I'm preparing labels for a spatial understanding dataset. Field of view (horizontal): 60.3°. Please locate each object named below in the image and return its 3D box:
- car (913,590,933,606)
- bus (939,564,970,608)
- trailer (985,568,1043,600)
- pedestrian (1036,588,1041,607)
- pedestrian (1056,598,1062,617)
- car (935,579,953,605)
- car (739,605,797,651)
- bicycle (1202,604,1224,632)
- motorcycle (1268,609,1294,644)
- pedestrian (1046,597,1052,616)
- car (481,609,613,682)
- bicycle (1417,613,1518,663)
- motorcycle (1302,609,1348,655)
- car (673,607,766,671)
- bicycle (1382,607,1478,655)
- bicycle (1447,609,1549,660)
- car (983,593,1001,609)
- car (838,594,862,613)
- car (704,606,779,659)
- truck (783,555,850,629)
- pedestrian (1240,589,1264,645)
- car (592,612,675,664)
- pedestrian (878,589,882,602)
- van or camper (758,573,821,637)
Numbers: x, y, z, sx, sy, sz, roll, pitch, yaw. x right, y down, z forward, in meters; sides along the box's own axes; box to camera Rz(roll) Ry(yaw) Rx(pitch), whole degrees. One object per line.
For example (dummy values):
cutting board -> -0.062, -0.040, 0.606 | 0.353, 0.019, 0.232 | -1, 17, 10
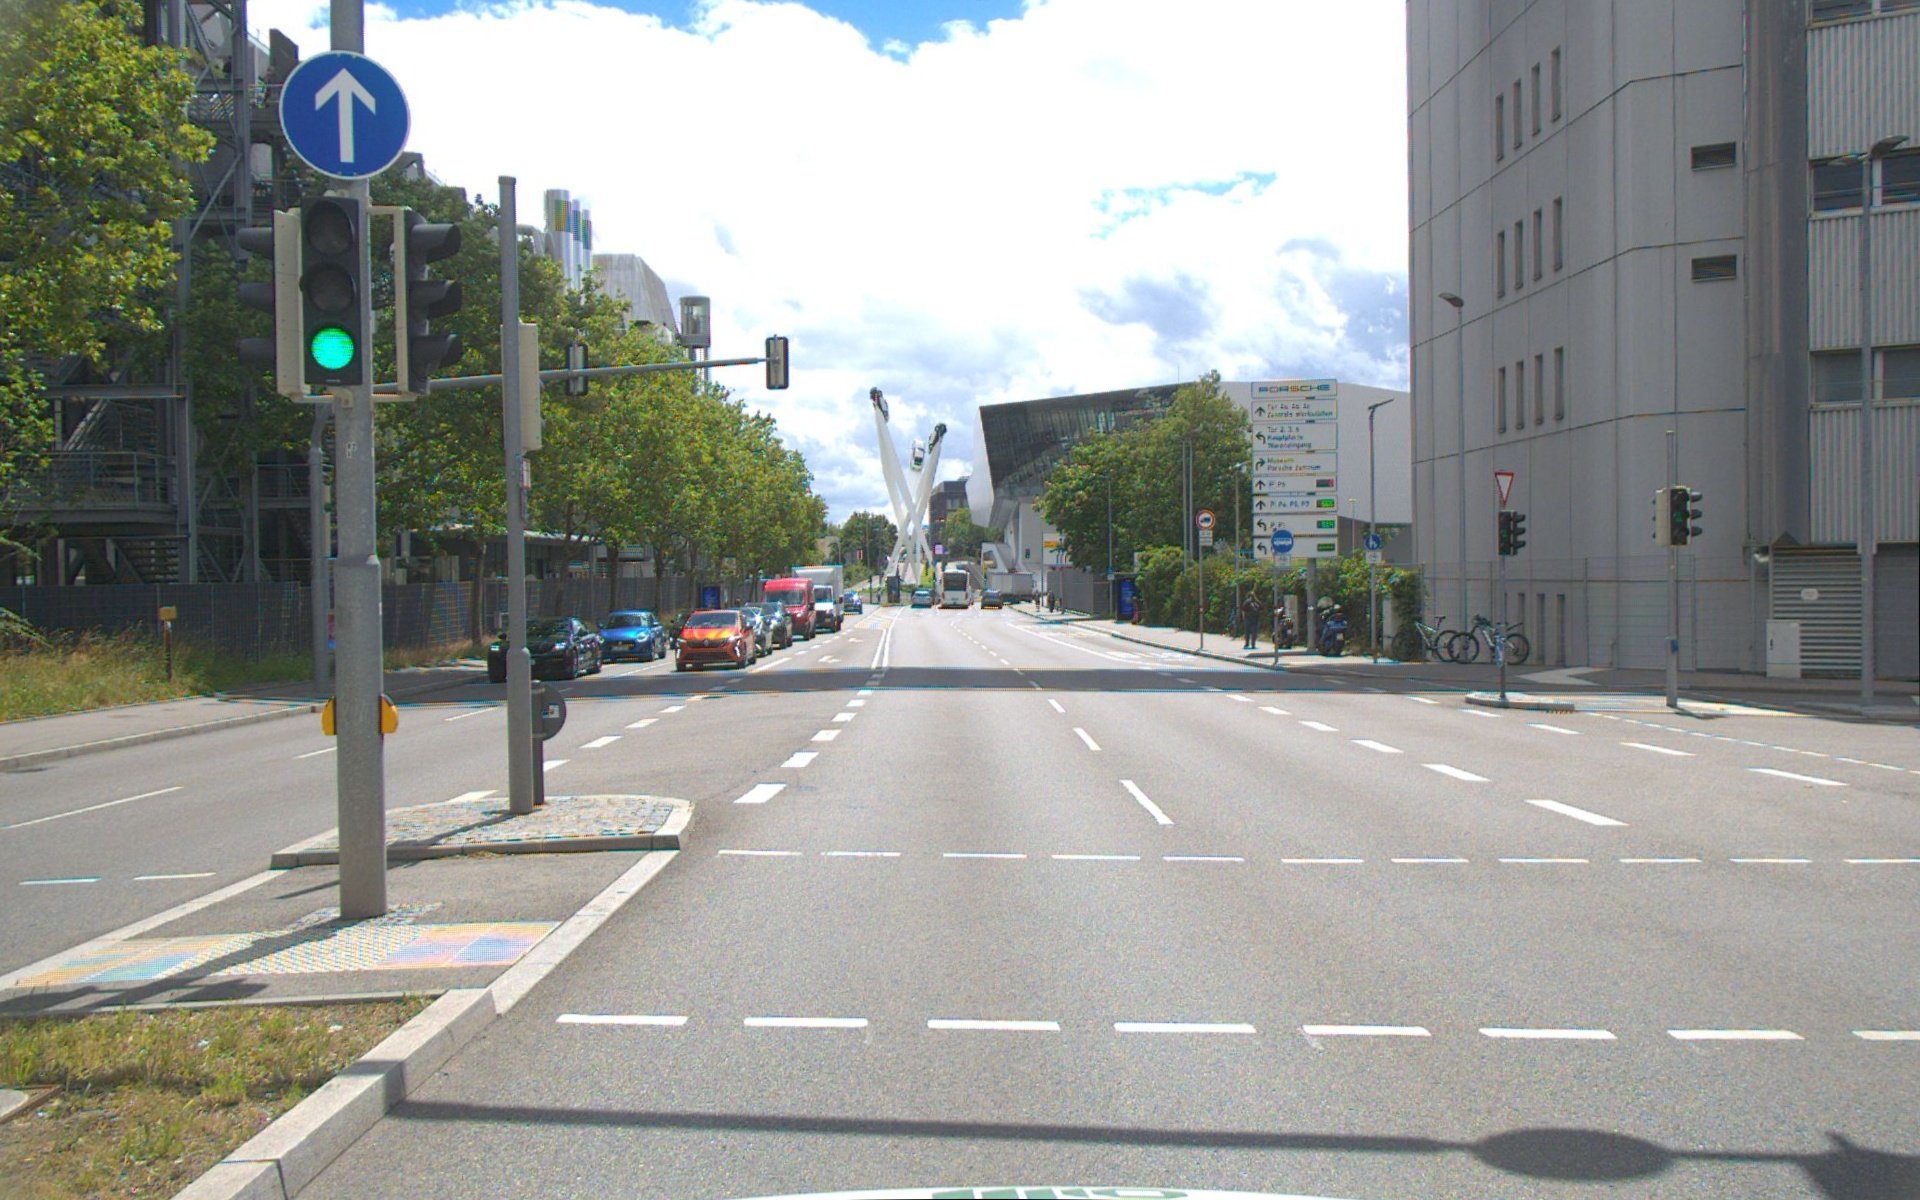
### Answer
car -> -3.289, -0.178, 147.066 | 1.525, 1.295, 3.701 | -2, 0, 1
bus -> -0.486, -1.201, 148.711 | 2.730, 3.750, 6.942 | 1, -1, 0
trailer -> 5.692, -1.580, 172.119 | 3.250, 3.047, 10.380 | 1, -1, 18
pedestrian -> 6.142, -0.198, 129.107 | 0.378, 1.446, 0.423 | 1, -1, 0
pedestrian -> 7.471, 0.566, 125.119 | 0.378, 1.446, 0.423 | 1, -1, 0
car -> -1.666, -0.847, 174.731 | 1.806, 2.669, 4.000 | 1, -1, 1
car -> -6.653, 0.960, 57.679 | 1.525, 1.473, 3.772 | -2, 0, 0
bicycle -> 9.770, 0.703, 63.905 | 0.410, 1.040, 1.910 | 1, -1, -5
motorcycle -> 9.823, 0.814, 50.644 | 0.448, 1.040, 1.913 | 1, -1, 1
pedestrian -> 6.706, 0.493, 124.823 | 0.378, 1.446, 0.423 | 1, -1, 0
car -> -9.724, 1.038, 39.328 | 1.878, 1.514, 4.771 | -2, 0, 0
bicycle -> 11.705, 0.875, 38.200 | 2.180, 1.106, 0.475 | 0, -1, 35
motorcycle -> 9.621, 0.841, 43.657 | 0.410, 1.186, 1.951 | 1, -1, -11
car -> -6.000, 0.954, 41.572 | 1.733, 1.445, 3.701 | -2, 0, 0
bicycle -> 11.221, 0.742, 39.527 | 2.180, 1.106, 0.475 | 0, -1, 35
bicycle -> 12.107, 0.762, 37.263 | 2.149, 1.106, 0.475 | 0, -1, 35
car -> 2.789, 0.099, 145.388 | 1.525, 1.295, 3.701 | -2, 0, 1
car -> -8.266, 0.264, 124.711 | 1.525, 1.295, 3.701 | -2, 0, 0
car -> -6.559, 0.963, 49.966 | 1.733, 1.445, 3.701 | -2, 0, 0
truck -> -6.814, -0.324, 79.538 | 2.538, 3.382, 7.078 | 1, -1, 0
pedestrian -> 8.871, 0.518, 50.282 | 0.523, 1.669, 0.657 | 1, -1, -6
car -> -9.709, 1.100, 49.433 | 1.692, 1.406, 3.701 | -2, 0, 0
pedestrian -> -8.585, -0.484, 177.053 | 0.378, 1.446, 0.423 | 1, -1, -4
van or camper -> -6.976, 0.194, 68.207 | 2.005, 2.510, 5.594 | 0, 0, 0
